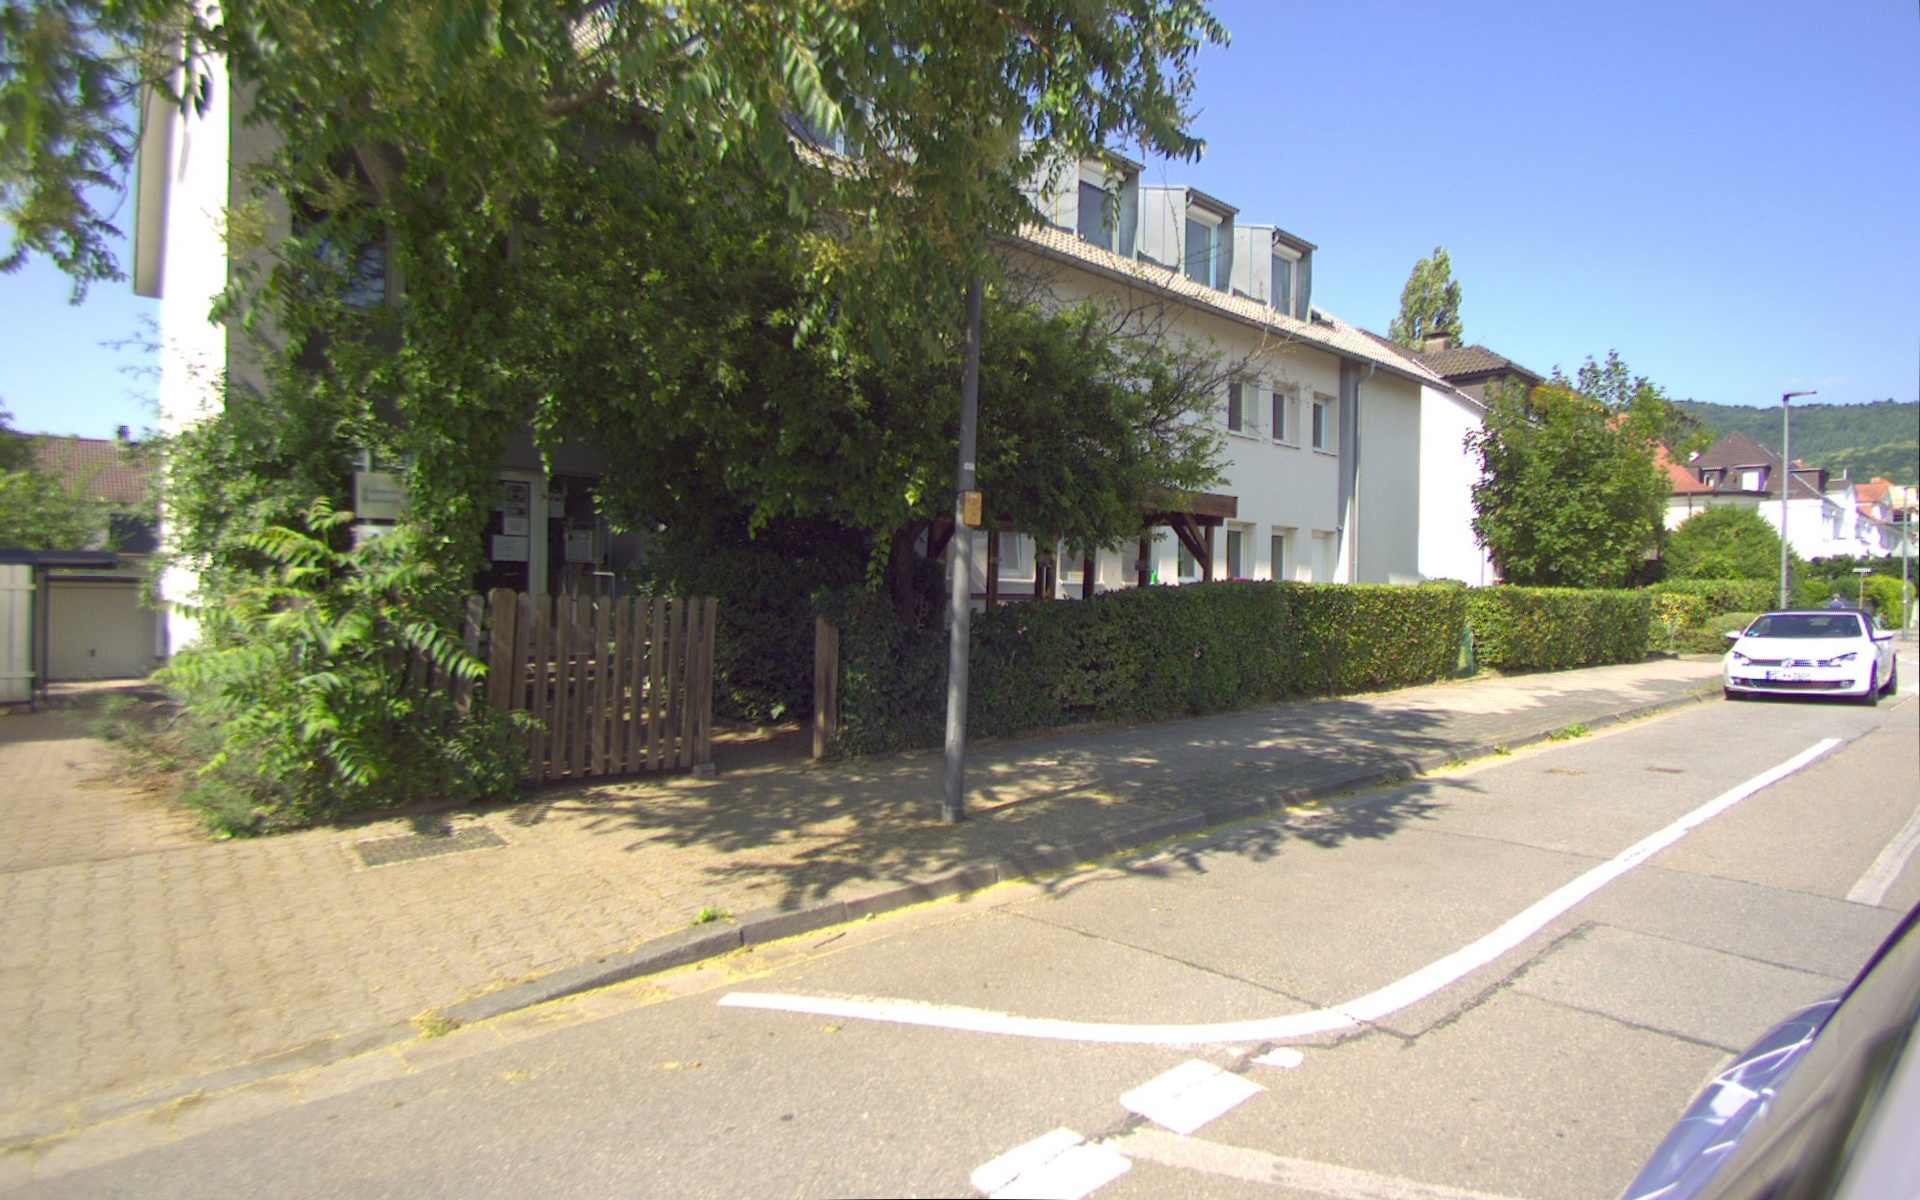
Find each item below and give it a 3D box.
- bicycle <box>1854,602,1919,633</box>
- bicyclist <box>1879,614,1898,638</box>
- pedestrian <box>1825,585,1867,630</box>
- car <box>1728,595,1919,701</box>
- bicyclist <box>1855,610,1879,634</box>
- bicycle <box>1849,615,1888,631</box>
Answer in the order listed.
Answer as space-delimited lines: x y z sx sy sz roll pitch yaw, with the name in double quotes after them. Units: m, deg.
38.902 0.714 42.043 0.846 1.173 2.716 0 1 -8 "bicycle"
38.884 1.082 42.377 0.398 0.941 0.652 0 1 24 "bicyclist"
38.037 0.312 43.464 0.889 1.896 1.183 0 1 16 "pedestrian"
13.563 0.655 15.787 4.003 1.420 1.743 -1 -1 -41 "car"
36.696 0.871 40.952 0.599 0.945 0.399 0 1 11 "bicyclist"
36.829 0.931 41.028 1.133 0.607 0.401 1 1 11 "bicycle"
